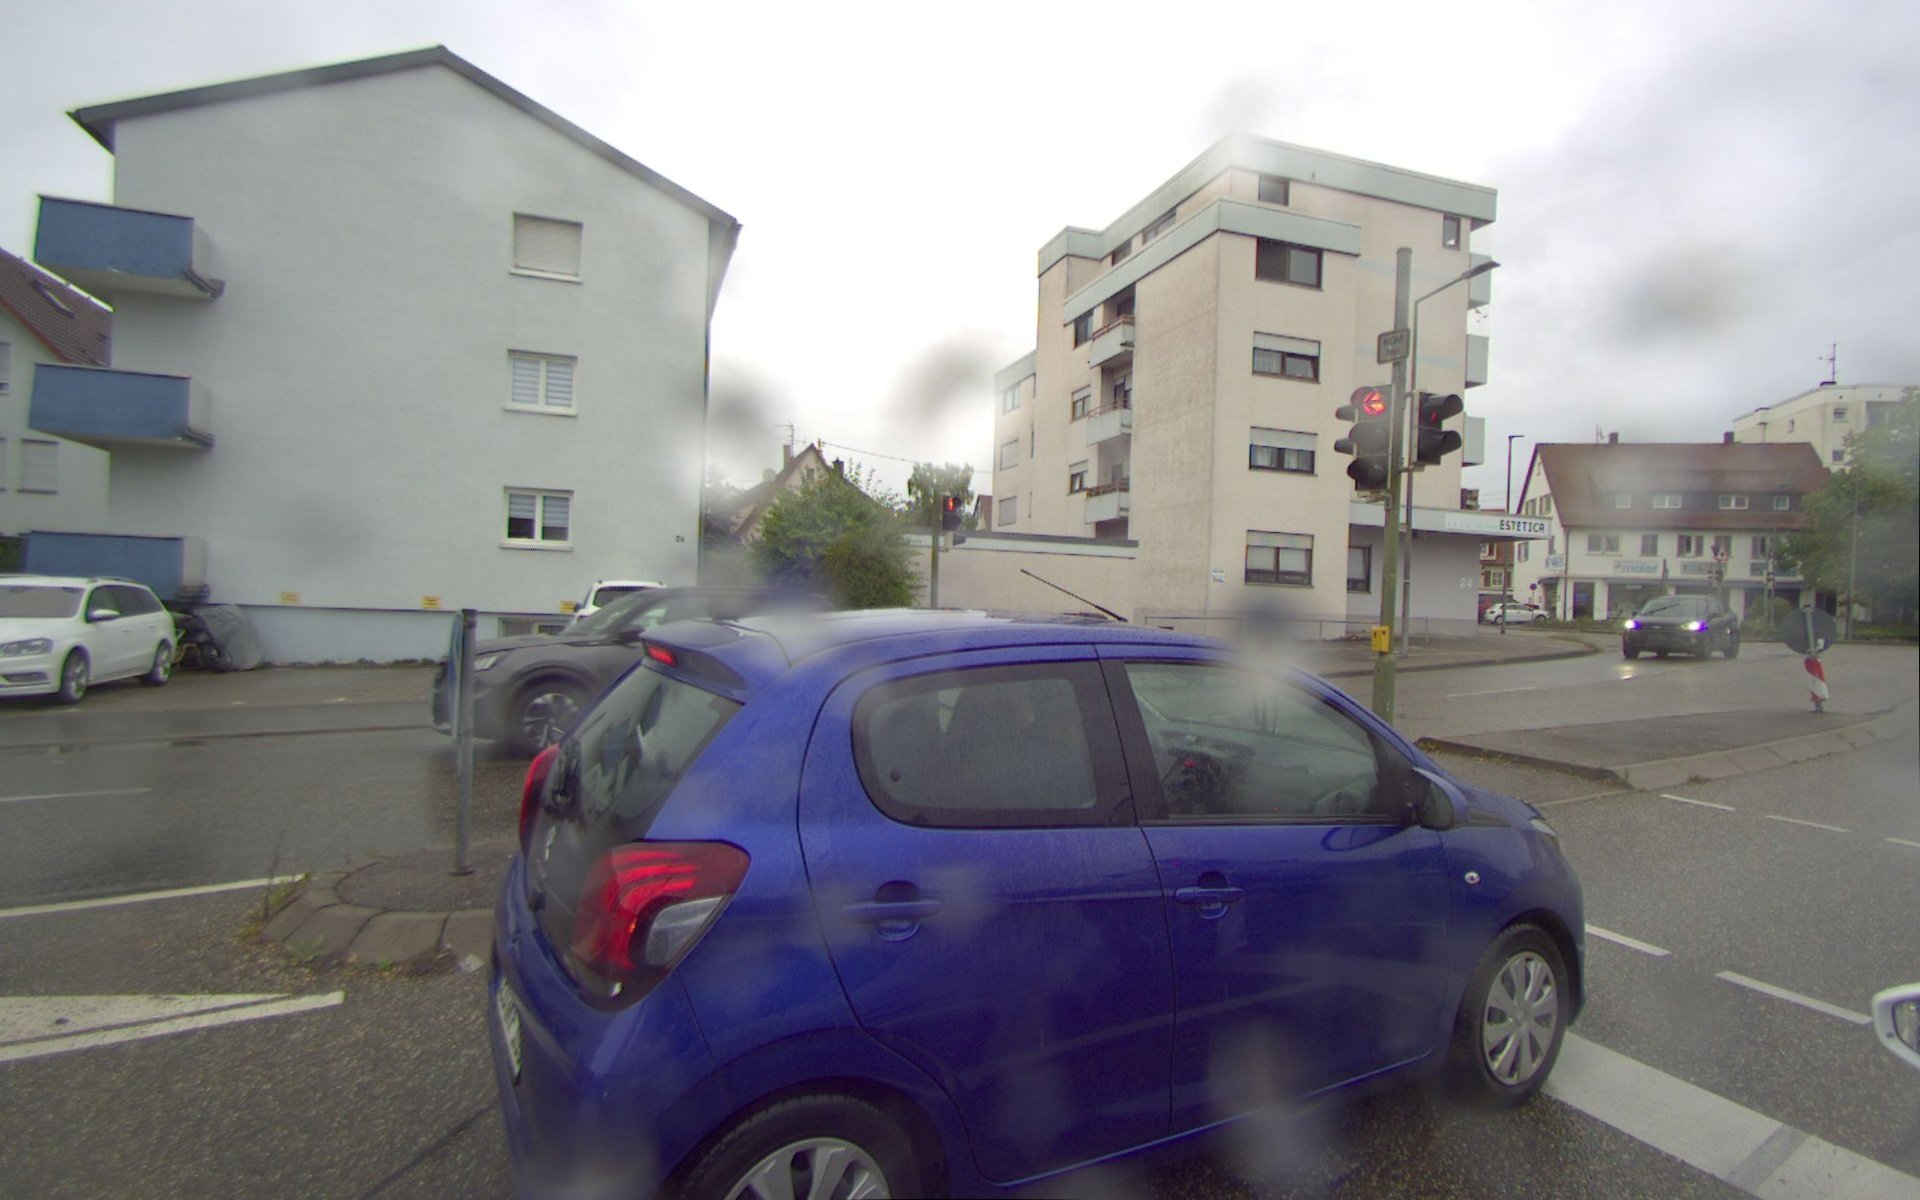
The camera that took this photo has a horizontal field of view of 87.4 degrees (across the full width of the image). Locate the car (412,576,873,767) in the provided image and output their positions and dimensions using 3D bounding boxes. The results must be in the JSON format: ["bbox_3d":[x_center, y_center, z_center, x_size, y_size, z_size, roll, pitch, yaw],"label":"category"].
[{"bbox_3d":[-3.082,0.615,9.973,3.959,1.532,1.955,2,0,-34],"label":"car"}]

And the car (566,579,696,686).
[{"bbox_3d":[-5.759,0.508,17.564,1.884,1.637,3.983,2,0,-19],"label":"car"}]

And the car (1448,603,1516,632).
[{"bbox_3d":[37.219,1.236,71.714,3.987,1.868,1.889,2,0,14],"label":"car"}]

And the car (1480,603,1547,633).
[{"bbox_3d":[37.926,1.231,68.883,3.611,1.946,1.889,2,0,14],"label":"car"}]

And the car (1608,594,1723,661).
[{"bbox_3d":[18.847,0.714,26.758,1.859,1.618,4.159,2,0,44],"label":"car"}]

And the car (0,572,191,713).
[{"bbox_3d":[-11.477,0.455,12.495,1.854,1.480,4.732,1,-1,-23],"label":"car"}]

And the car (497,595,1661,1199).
[{"bbox_3d":[0.473,0.736,3.089,3.324,1.432,1.498,1,1,-30],"label":"car"}]

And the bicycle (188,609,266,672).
[{"bbox_3d":[-12.690,0.688,17.410,1.053,1.067,0.345,0,1,-30],"label":"bicycle"}]
